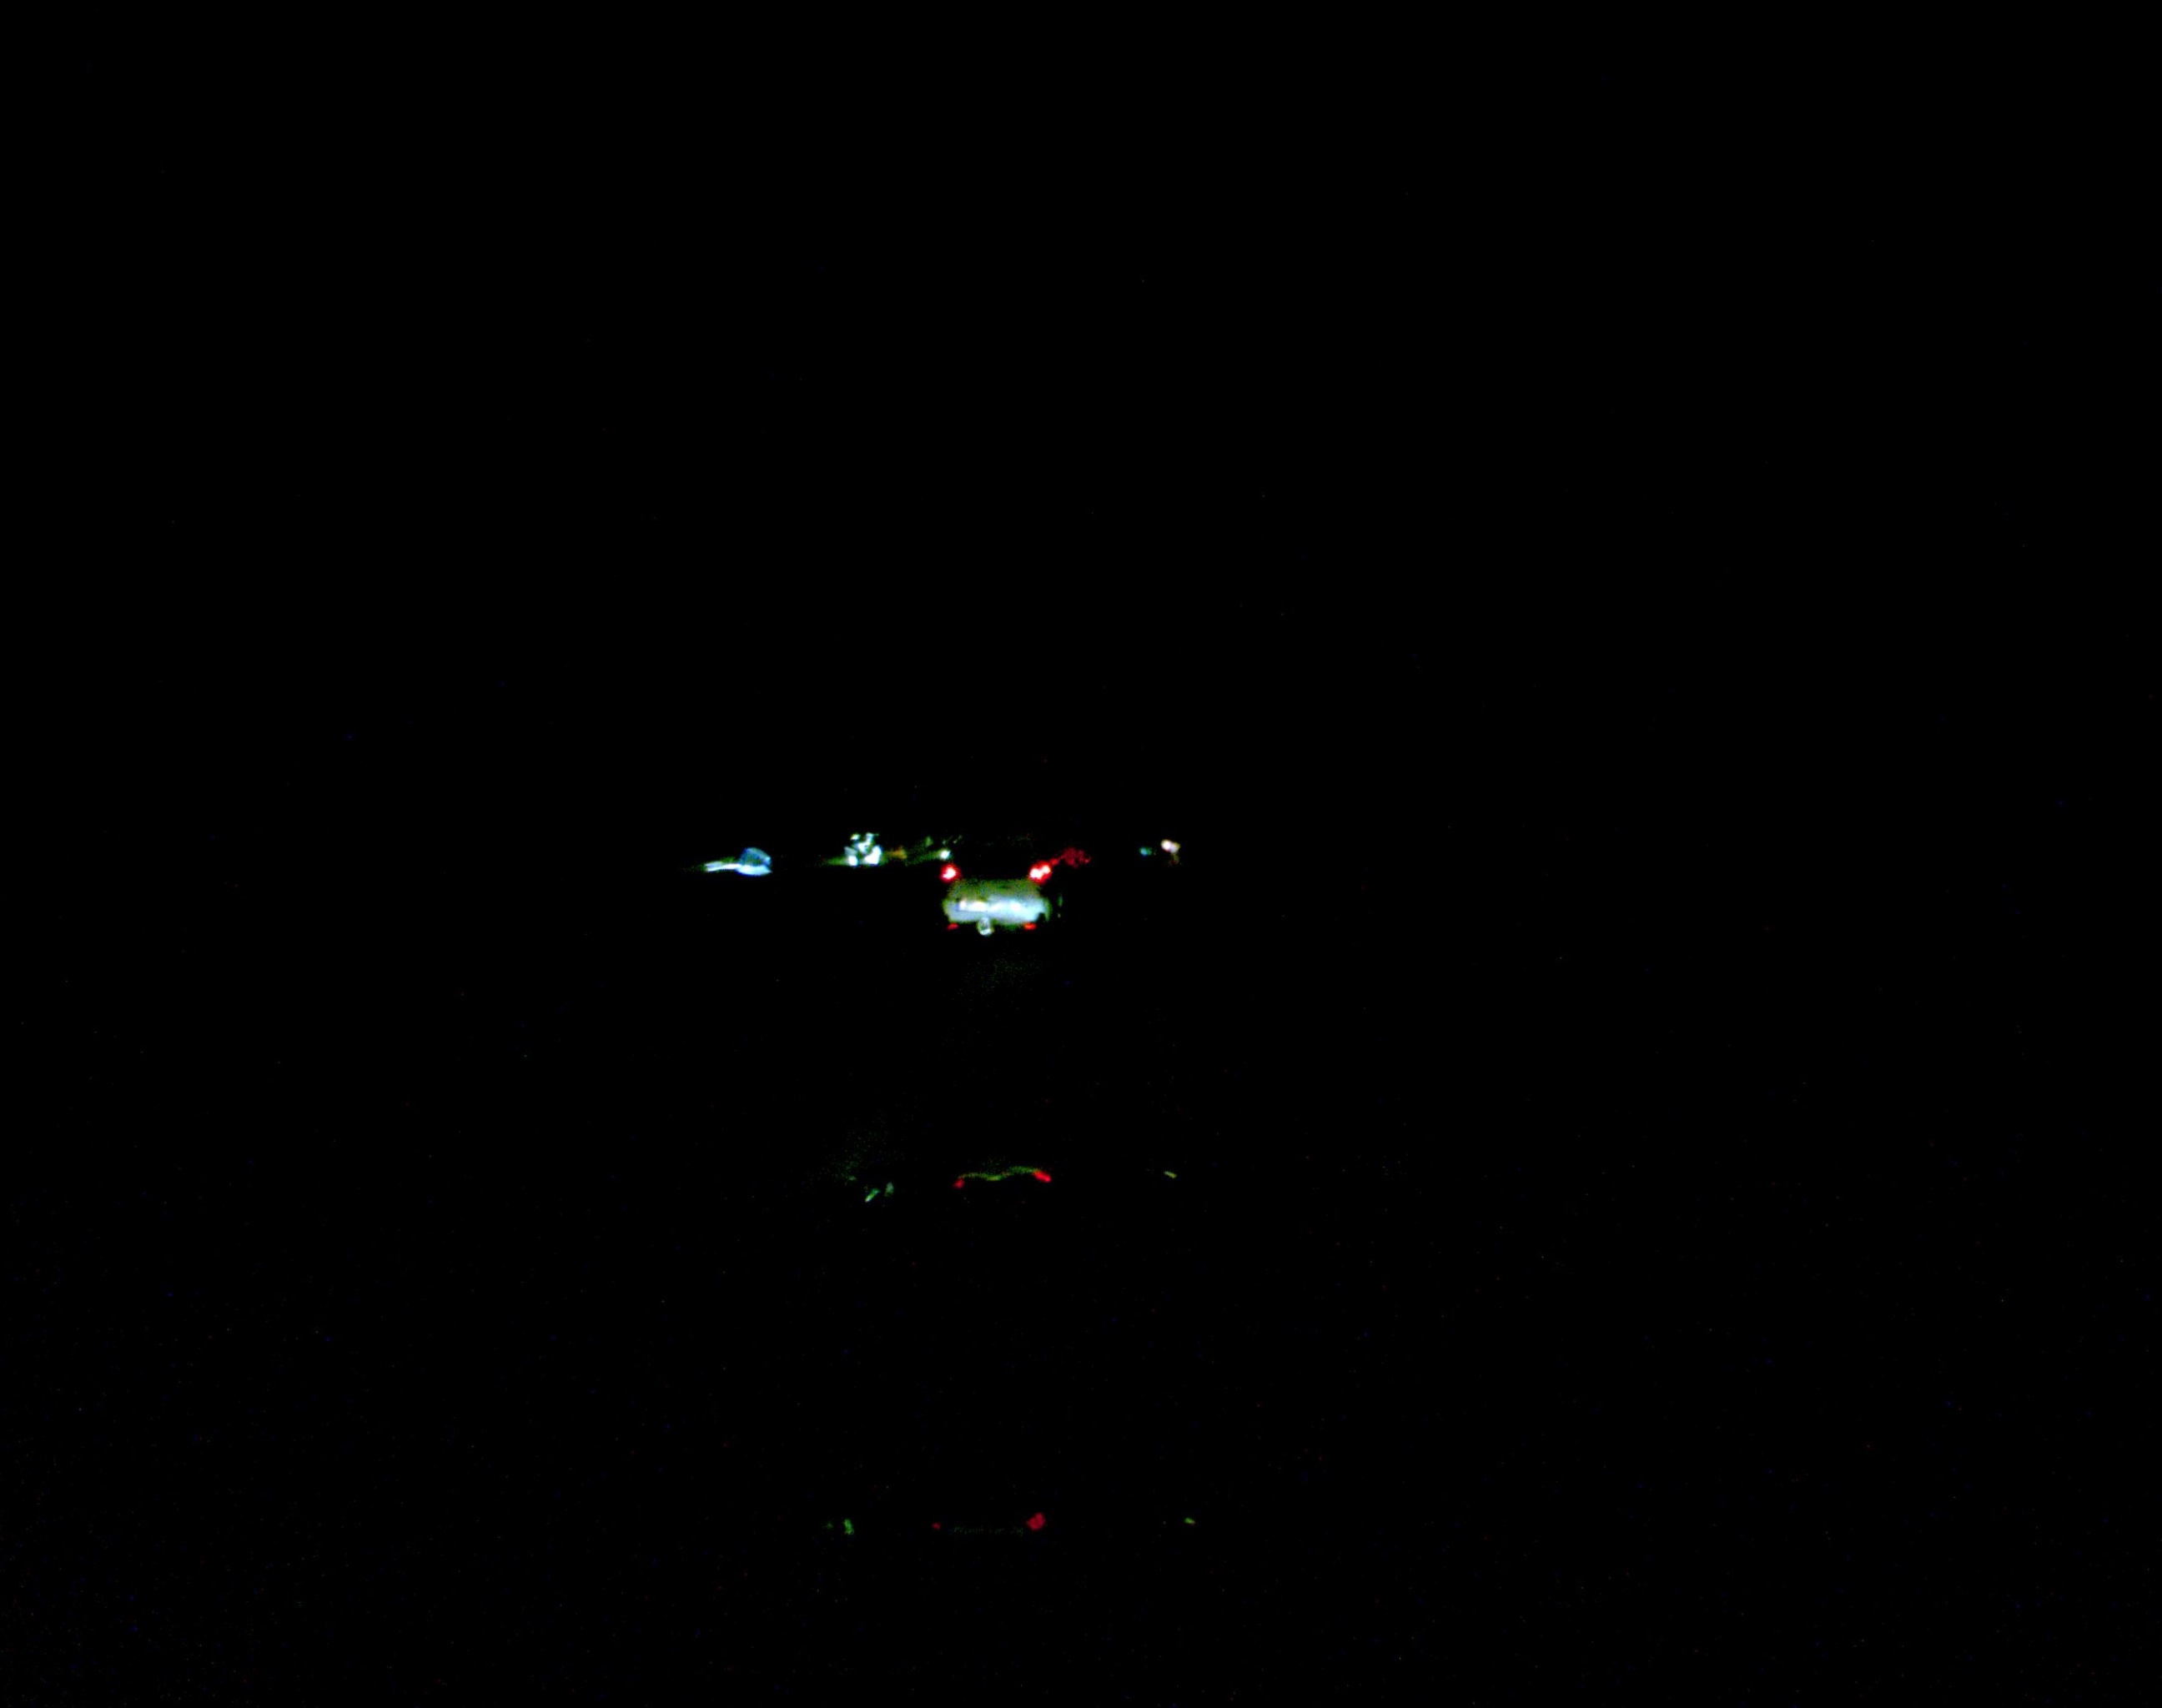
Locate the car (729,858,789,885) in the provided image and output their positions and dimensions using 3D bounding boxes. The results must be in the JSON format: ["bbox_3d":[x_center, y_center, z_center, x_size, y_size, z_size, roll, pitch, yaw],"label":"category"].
[{"bbox_3d":[-20.292,1.072,51.505,1.986,1.643,4.254,0,0,1],"label":"car"}]

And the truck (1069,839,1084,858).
[{"bbox_3d":[-1.290,-1.298,216.465,3.813,4.915,11.599,0,0,-1],"label":"truck"}]

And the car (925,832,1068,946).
[{"bbox_3d":[-1.374,0.552,15.376,1.945,1.792,5.127,0,0,2],"label":"car"}]

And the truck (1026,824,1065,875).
[{"bbox_3d":[-3.985,-0.498,95.336,4.155,5.544,13.067,0,0,-1],"label":"truck"}]

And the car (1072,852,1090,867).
[{"bbox_3d":[-0.038,0.627,94.085,1.988,1.707,4.193,0,0,-2],"label":"car"}]

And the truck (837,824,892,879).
[{"bbox_3d":[-24.712,-0.286,93.461,4.152,6.128,7.346,0,0,1],"label":"truck"}]
